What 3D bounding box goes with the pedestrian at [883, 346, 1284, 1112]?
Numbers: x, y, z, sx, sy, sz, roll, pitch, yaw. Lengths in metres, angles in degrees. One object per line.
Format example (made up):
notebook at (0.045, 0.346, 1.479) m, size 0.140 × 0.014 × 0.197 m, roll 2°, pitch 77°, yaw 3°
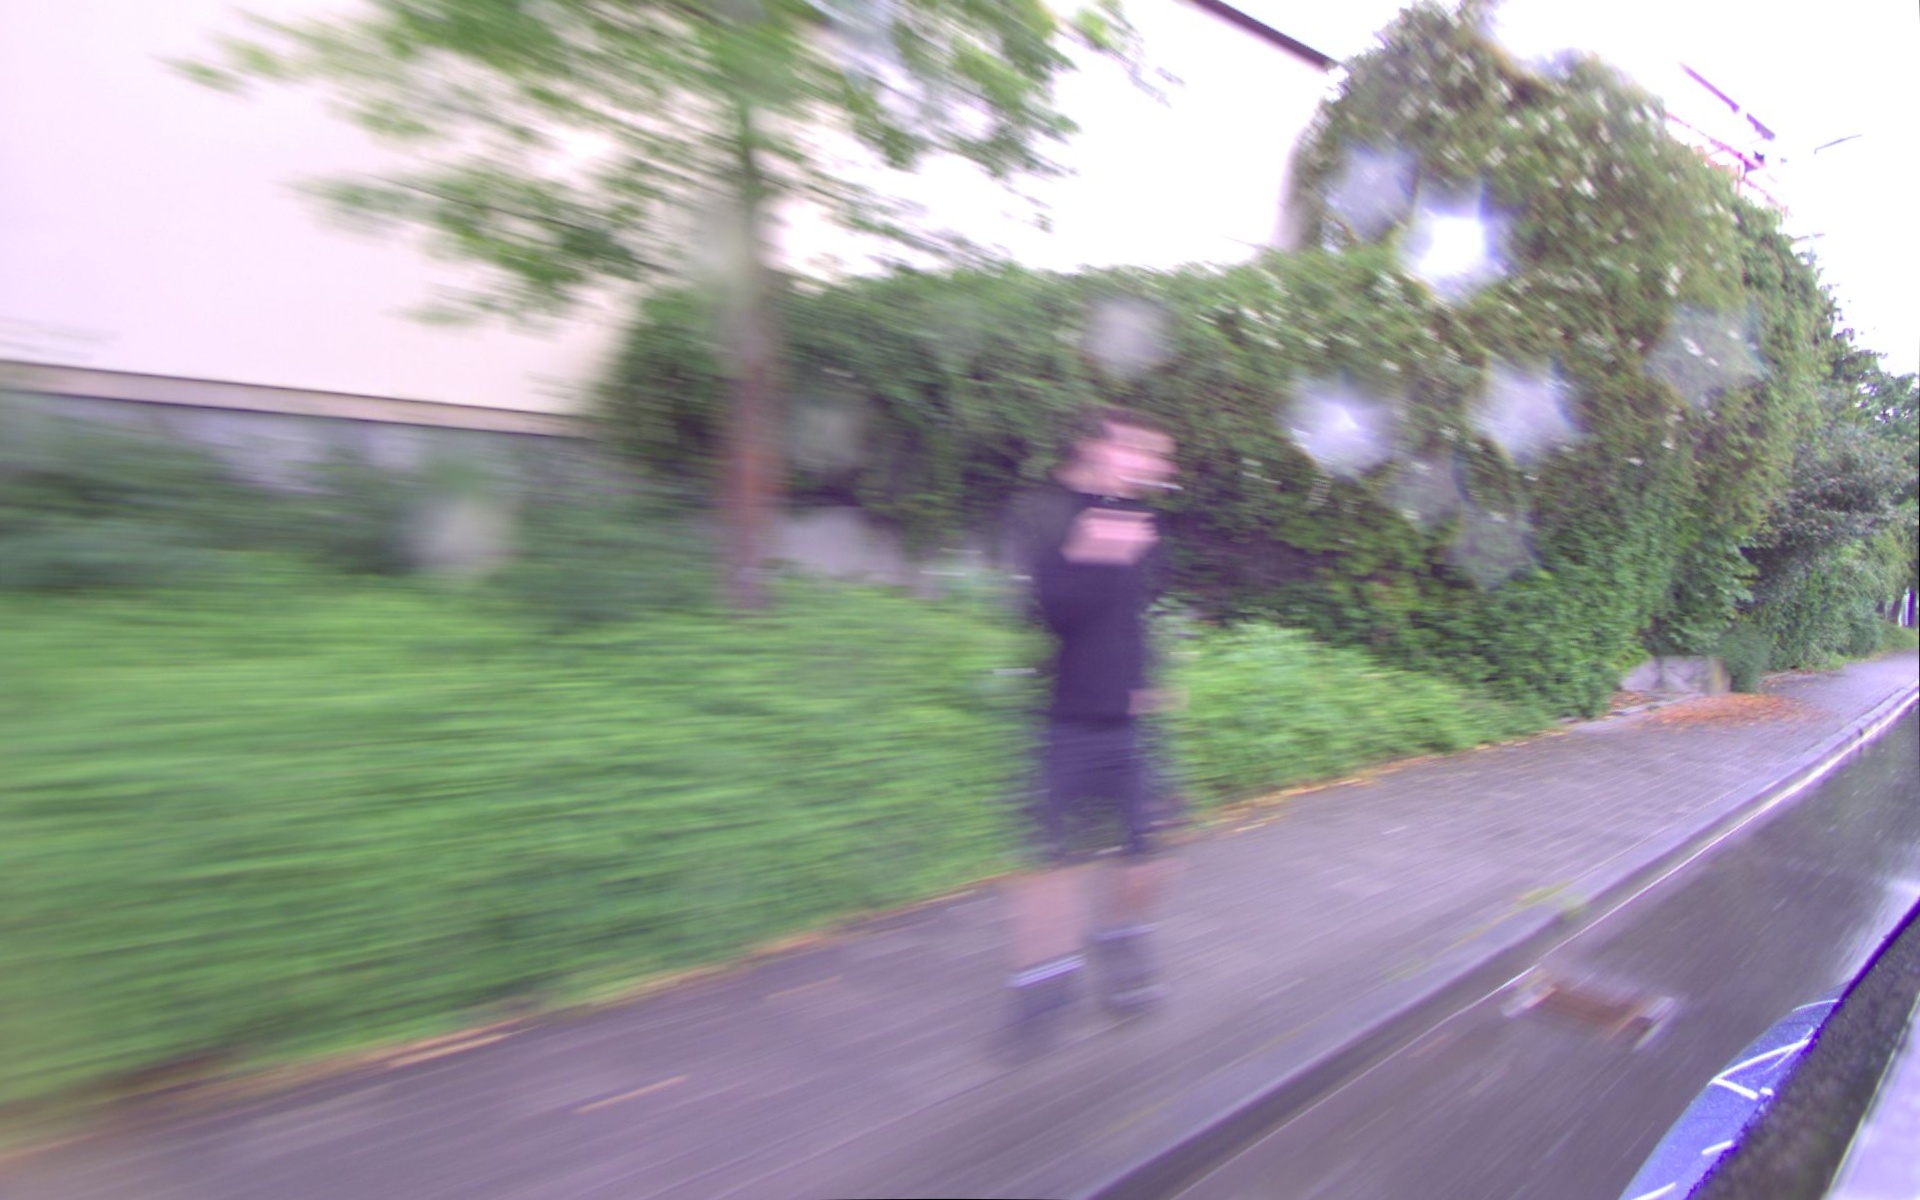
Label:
pedestrian at (0.368, 0.305, 3.025) m, size 0.875 × 1.860 × 0.746 m, roll 1°, pitch 2°, yaw -42°
